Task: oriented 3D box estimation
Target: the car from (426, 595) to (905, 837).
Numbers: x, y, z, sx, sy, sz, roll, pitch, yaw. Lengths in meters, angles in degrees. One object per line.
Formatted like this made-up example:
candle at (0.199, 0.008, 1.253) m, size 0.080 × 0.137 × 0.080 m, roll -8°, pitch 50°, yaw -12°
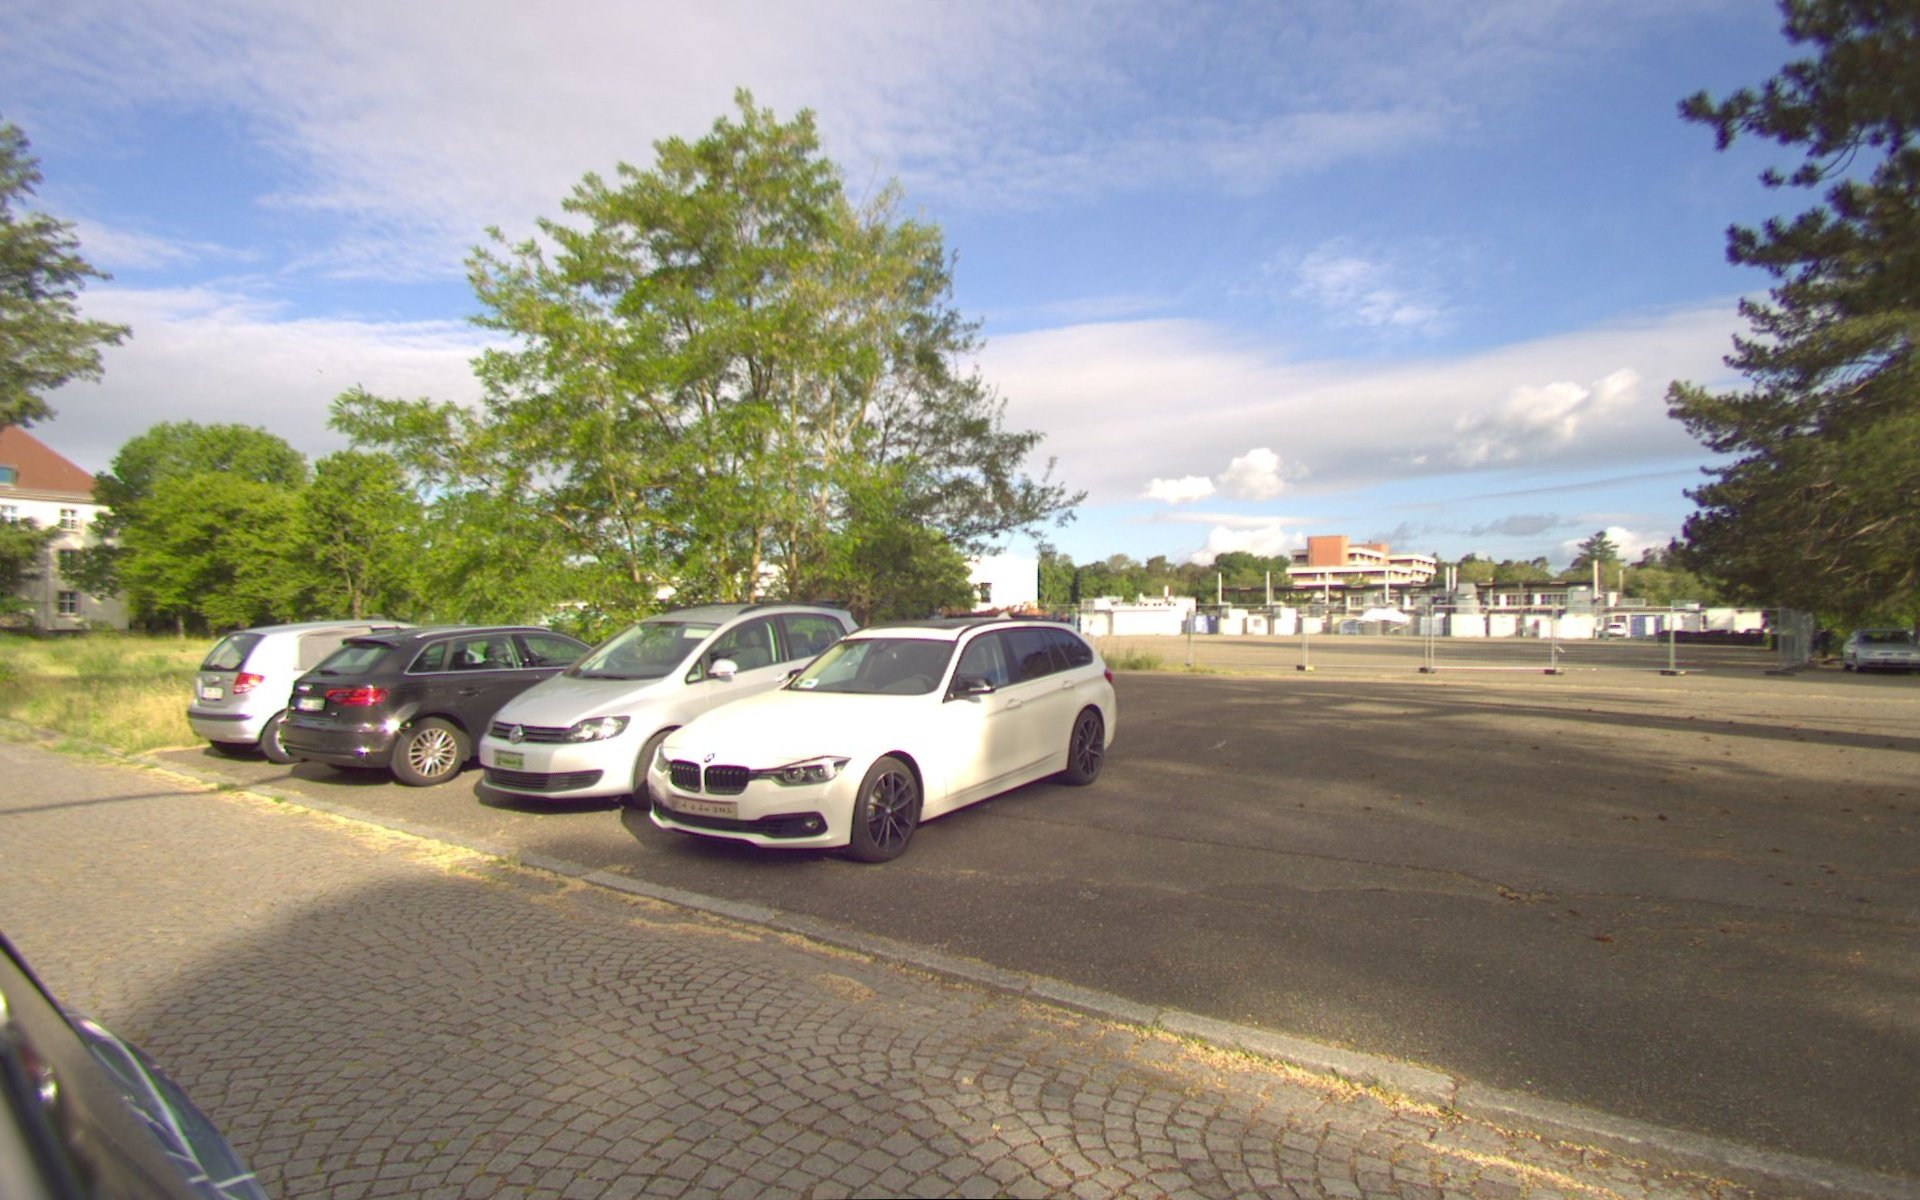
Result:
car at (-2.441, 0.825, 9.413) m, size 1.852 × 1.611 × 4.091 m, roll -1°, pitch 1°, yaw 31°

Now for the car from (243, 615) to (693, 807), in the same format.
car at (-4.917, 0.967, 10.576) m, size 1.855 × 1.440 × 3.796 m, roll 0°, pitch 1°, yaw 35°

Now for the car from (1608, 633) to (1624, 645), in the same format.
car at (99.241, 5.947, 153.110) m, size 1.850 × 1.685 × 4.154 m, roll 0°, pitch -1°, yaw 32°

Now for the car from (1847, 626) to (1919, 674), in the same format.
car at (29.211, 1.520, 31.831) m, size 1.662 × 1.392 × 3.950 m, roll 0°, pitch -1°, yaw 37°

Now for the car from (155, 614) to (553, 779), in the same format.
car at (-7.065, 0.994, 12.129) m, size 1.845 × 1.484 × 3.652 m, roll 0°, pitch 1°, yaw 34°

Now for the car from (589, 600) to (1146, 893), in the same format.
car at (-0.354, 0.835, 7.970) m, size 1.898 × 1.466 × 4.550 m, roll -3°, pitch 0°, yaw 34°

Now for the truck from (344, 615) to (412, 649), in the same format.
truck at (-46.918, 2.589, 81.523) m, size 6.950 × 2.607 × 2.388 m, roll -2°, pitch -2°, yaw 39°
